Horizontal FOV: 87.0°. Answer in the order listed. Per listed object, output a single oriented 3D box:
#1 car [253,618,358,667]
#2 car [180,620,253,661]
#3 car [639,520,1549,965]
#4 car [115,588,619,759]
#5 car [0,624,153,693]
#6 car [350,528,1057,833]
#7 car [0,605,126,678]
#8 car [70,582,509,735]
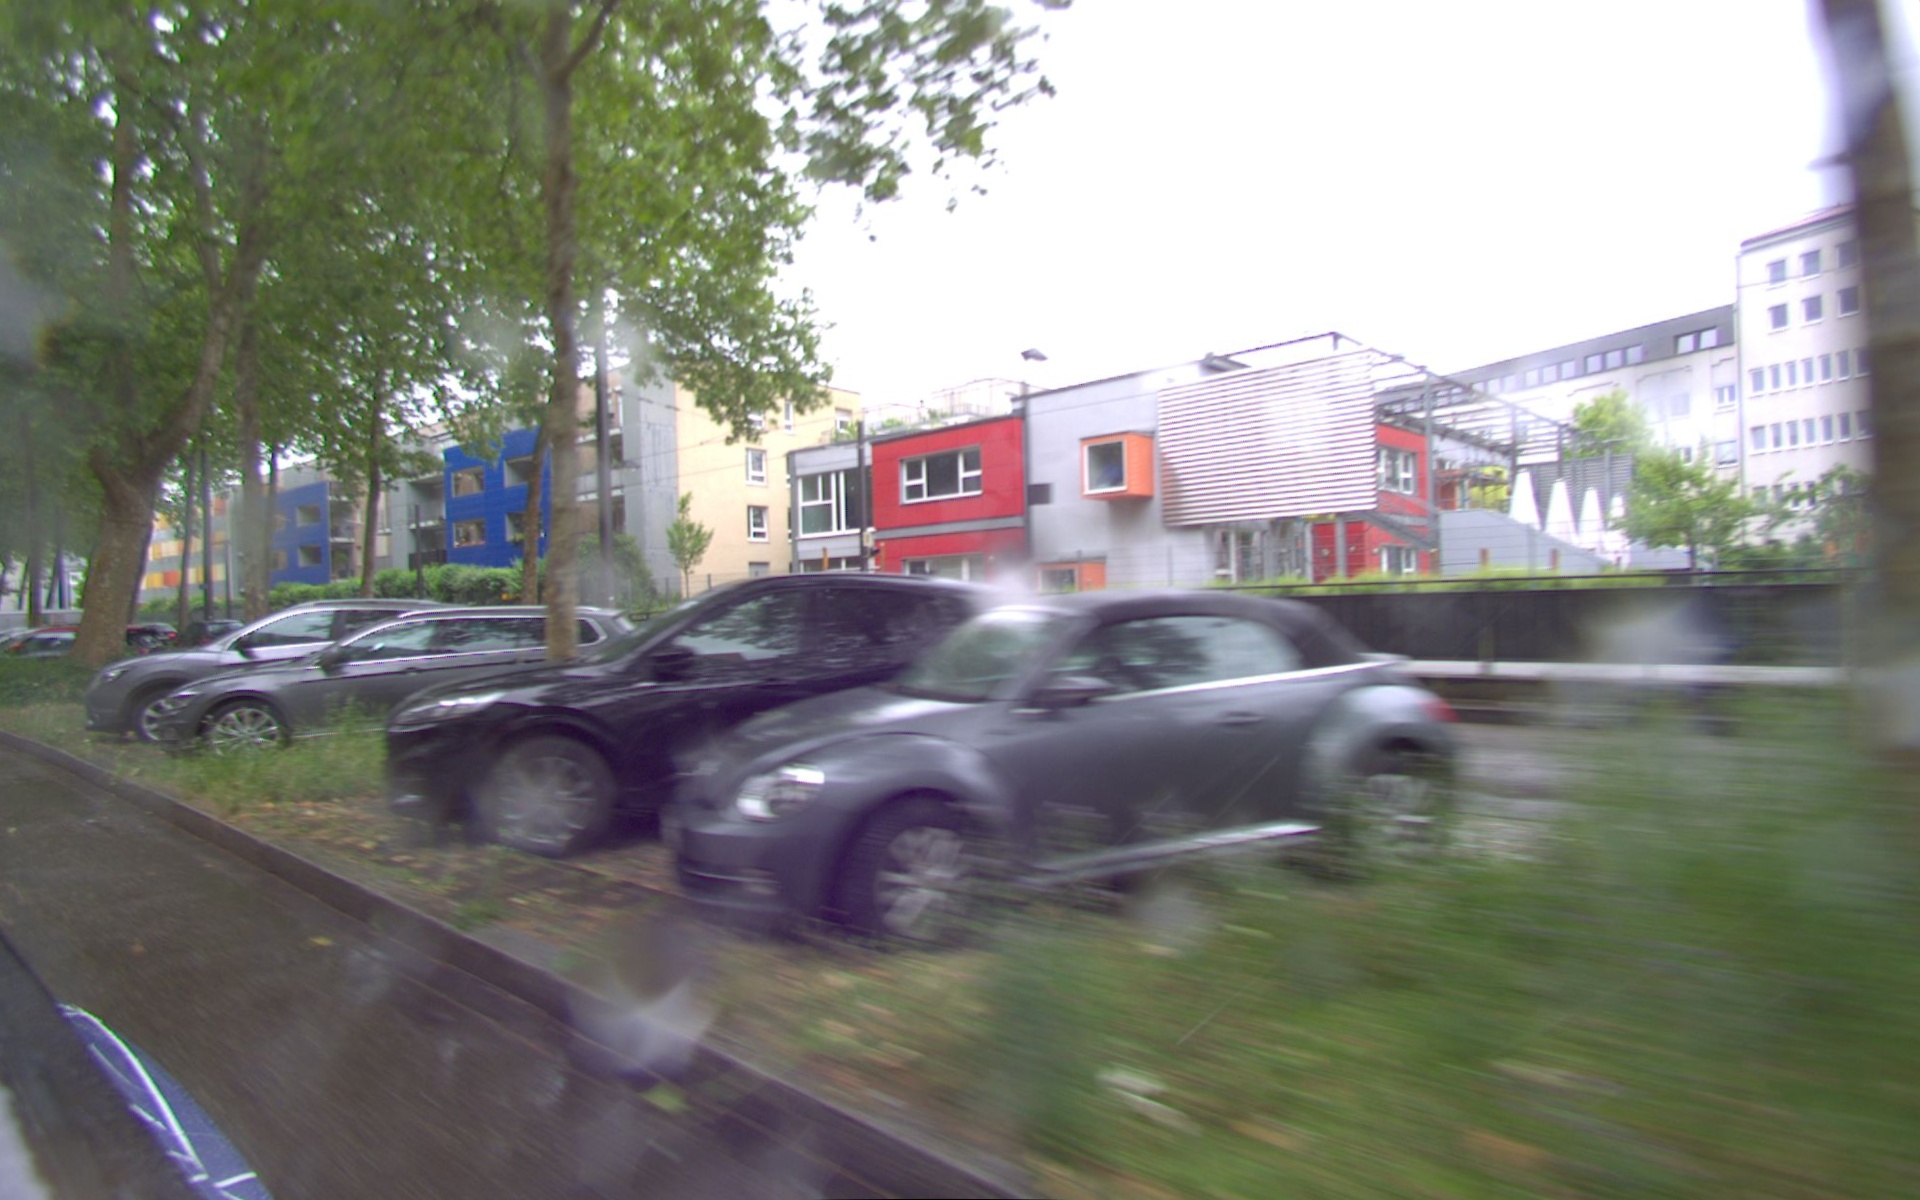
[{"bbox_3d":[-21.009,1.317,32.438,3.995,1.458,1.671,-1,-1,39],"label":"car"},{"bbox_3d":[-28.570,1.520,38.853,4.002,1.458,1.668,-1,-1,45],"label":"car"},{"bbox_3d":[0.597,0.502,5.165,4.158,1.553,1.937,0,-1,-20],"label":"car"},{"bbox_3d":[-5.799,0.660,10.535,4.259,1.519,1.754,0,-1,-19],"label":"car"},{"bbox_3d":[-21.430,1.340,23.530,3.931,1.497,1.665,0,-1,-29],"label":"car"},{"bbox_3d":[-1.606,0.434,6.937,4.158,1.622,1.754,0,-1,-20],"label":"car"},{"bbox_3d":[-27.423,1.174,29.178,4.808,2.029,2.006,0,-1,-20],"label":"car"},{"bbox_3d":[-7.901,0.626,12.456,4.258,1.625,1.754,0,-1,-25],"label":"car"}]
